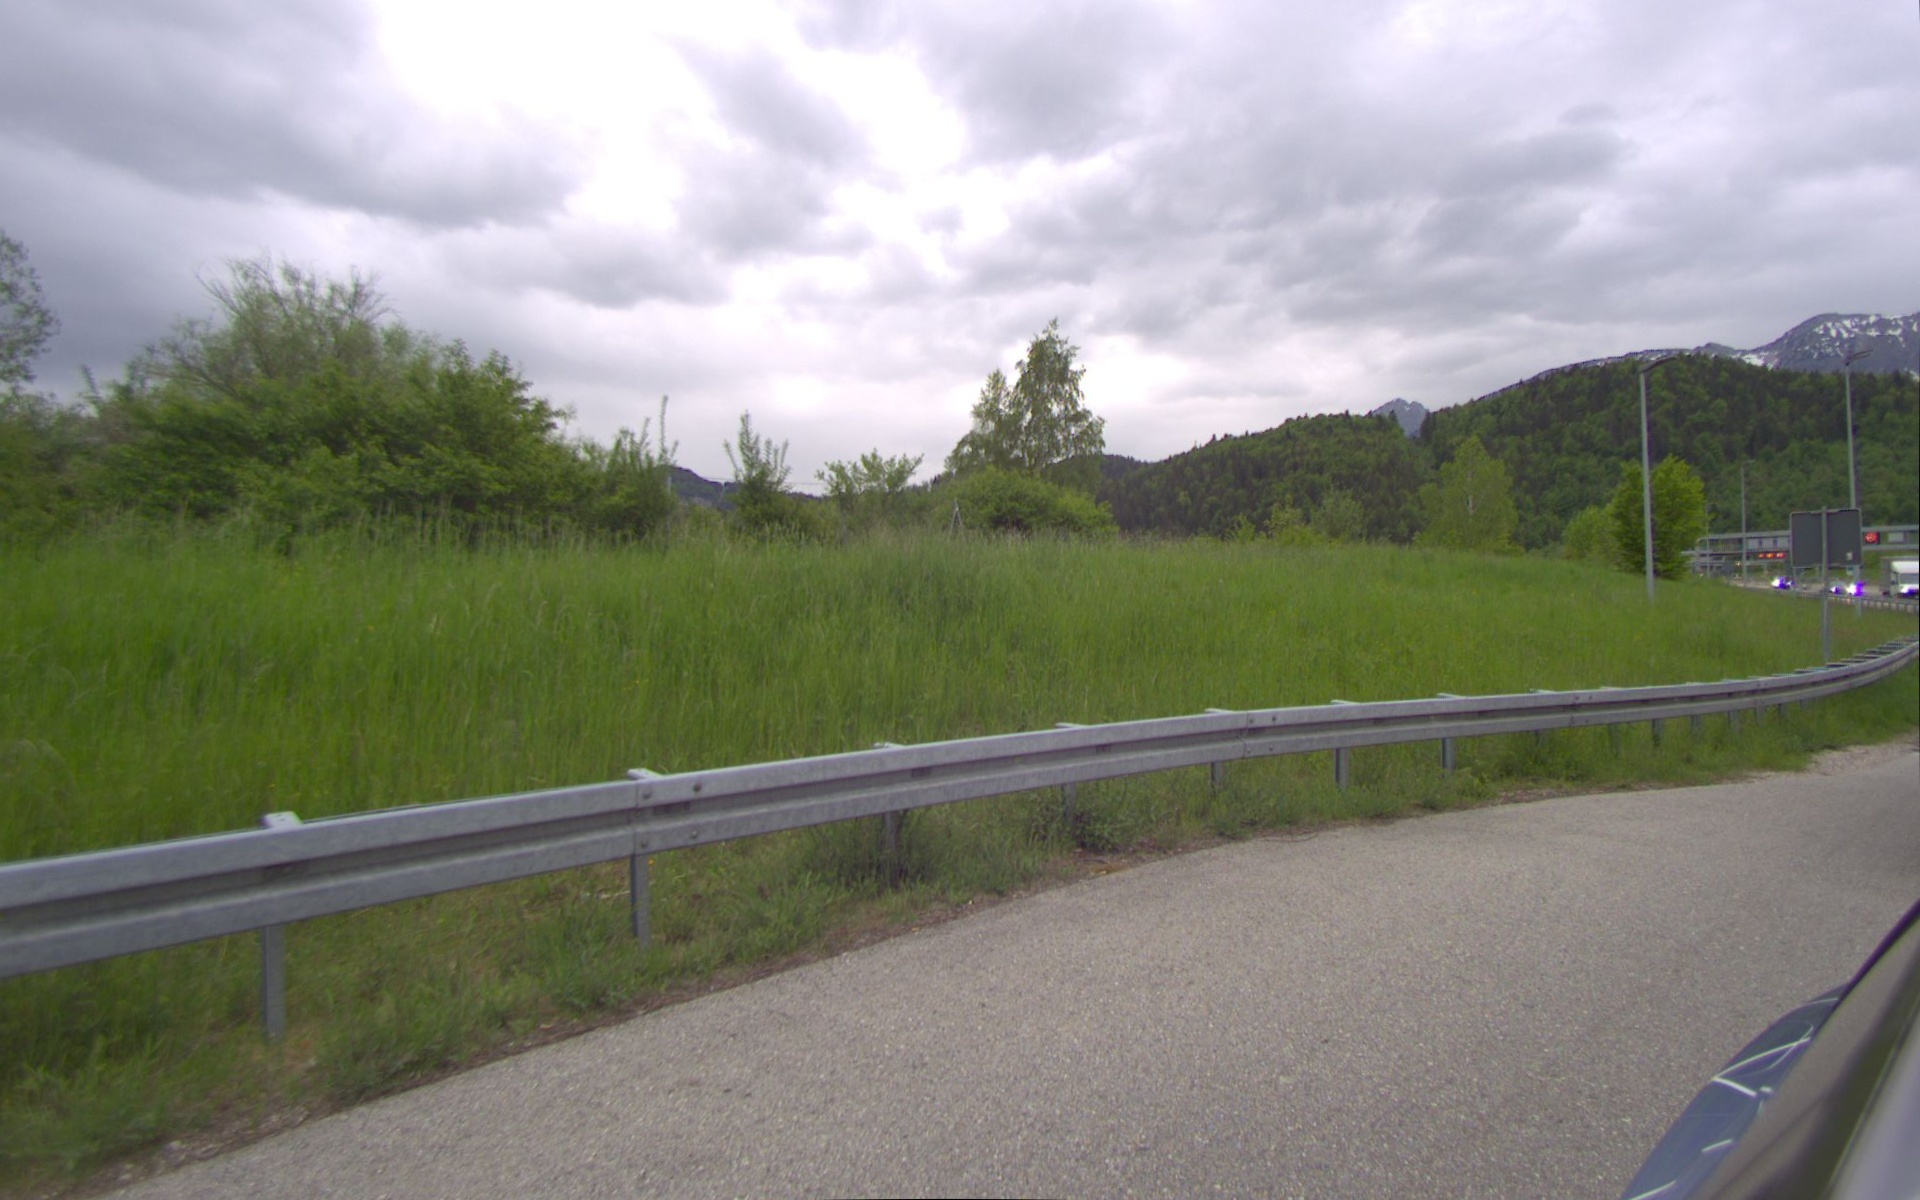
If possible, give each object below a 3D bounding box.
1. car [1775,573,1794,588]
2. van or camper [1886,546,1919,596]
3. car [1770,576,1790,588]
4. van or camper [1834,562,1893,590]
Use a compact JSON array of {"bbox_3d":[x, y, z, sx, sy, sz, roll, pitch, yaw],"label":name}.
[{"bbox_3d":[113.431,-2.694,139.192,1.858,1.895,3.946,1,2,37],"label":"car"},{"bbox_3d":[68.975,-2.069,72.682,2.566,3.434,7.266,1,1,34],"label":"van or camper"},{"bbox_3d":[113.265,-2.465,139.799,1.710,1.659,4.295,1,2,35],"label":"car"},{"bbox_3d":[91.379,-2.422,102.497,3.321,2.677,8.102,1,2,34],"label":"van or camper"}]
